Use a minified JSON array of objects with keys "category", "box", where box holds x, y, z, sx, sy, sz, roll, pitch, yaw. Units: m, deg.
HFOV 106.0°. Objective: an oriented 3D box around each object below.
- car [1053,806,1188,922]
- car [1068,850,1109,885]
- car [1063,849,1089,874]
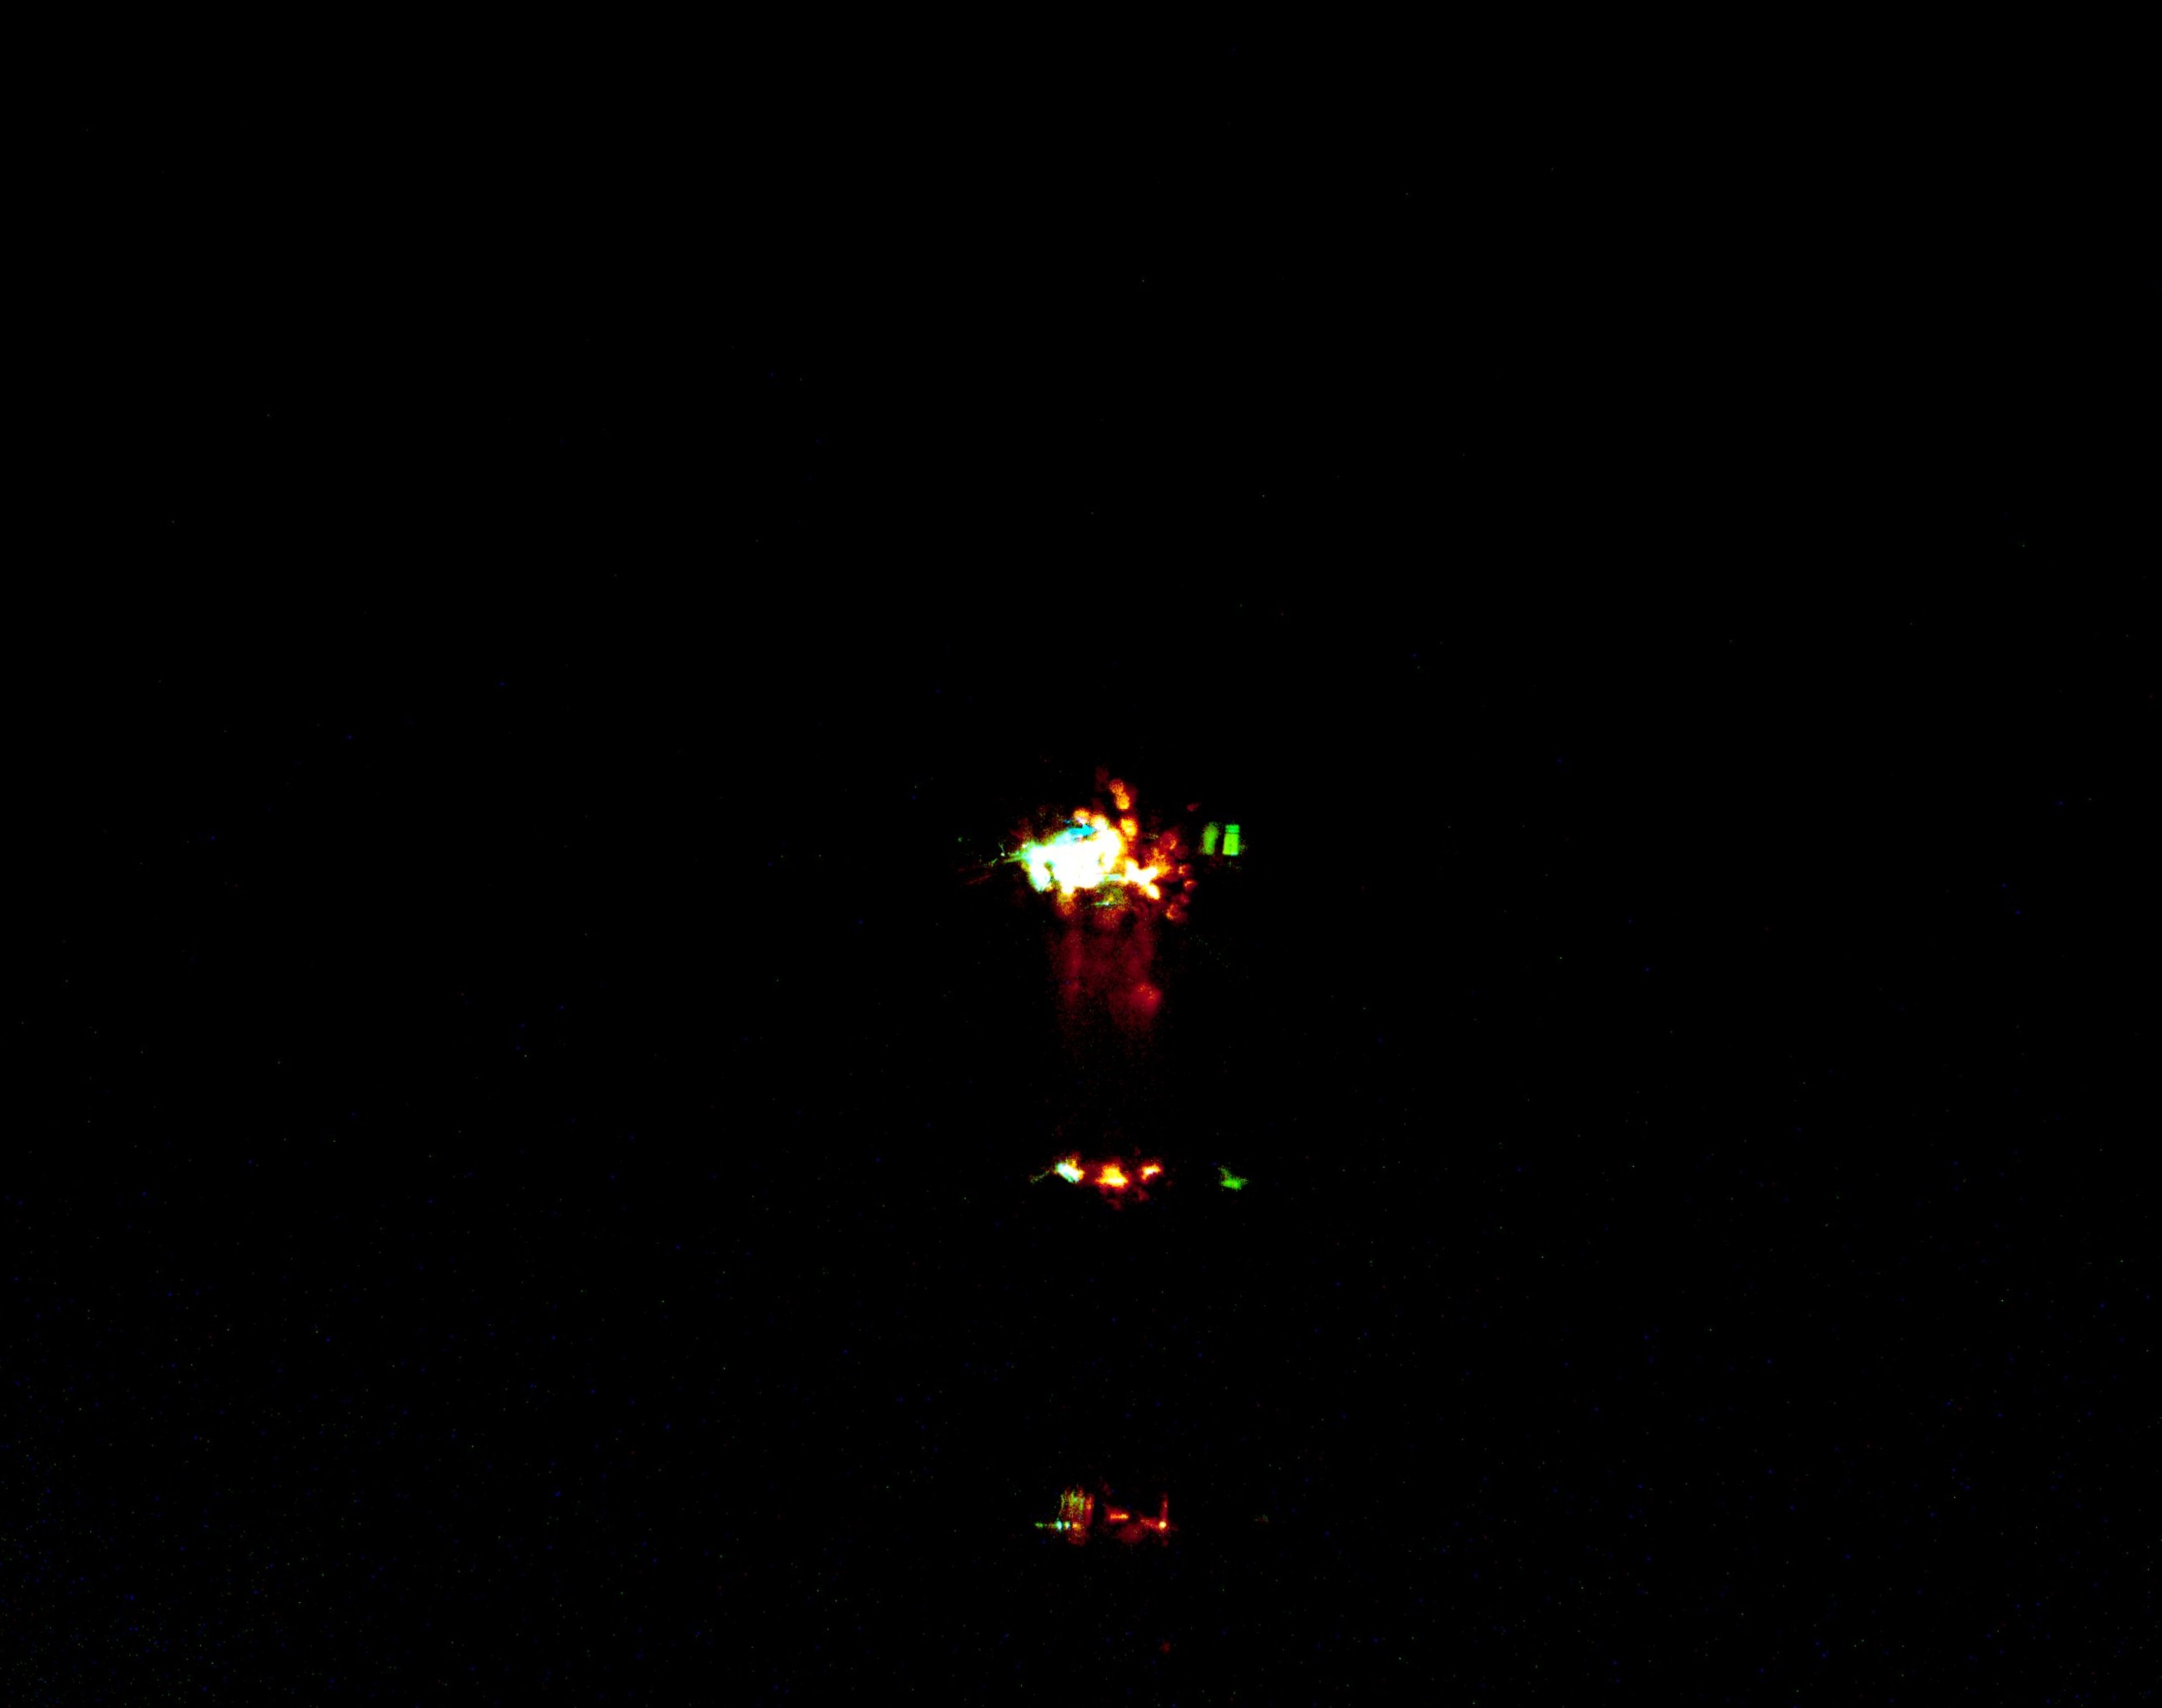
[{"category":"car","box":[0.832,0.187,19.589,2.706,2.307,6.100,-1,0,0]},{"category":"car","box":[0.298,0.628,39.646,1.874,1.580,4.782,-1,0,-1]},{"category":"car","box":[-0.368,0.570,66.086,1.987,1.914,3.999,-2,0,0]}]
